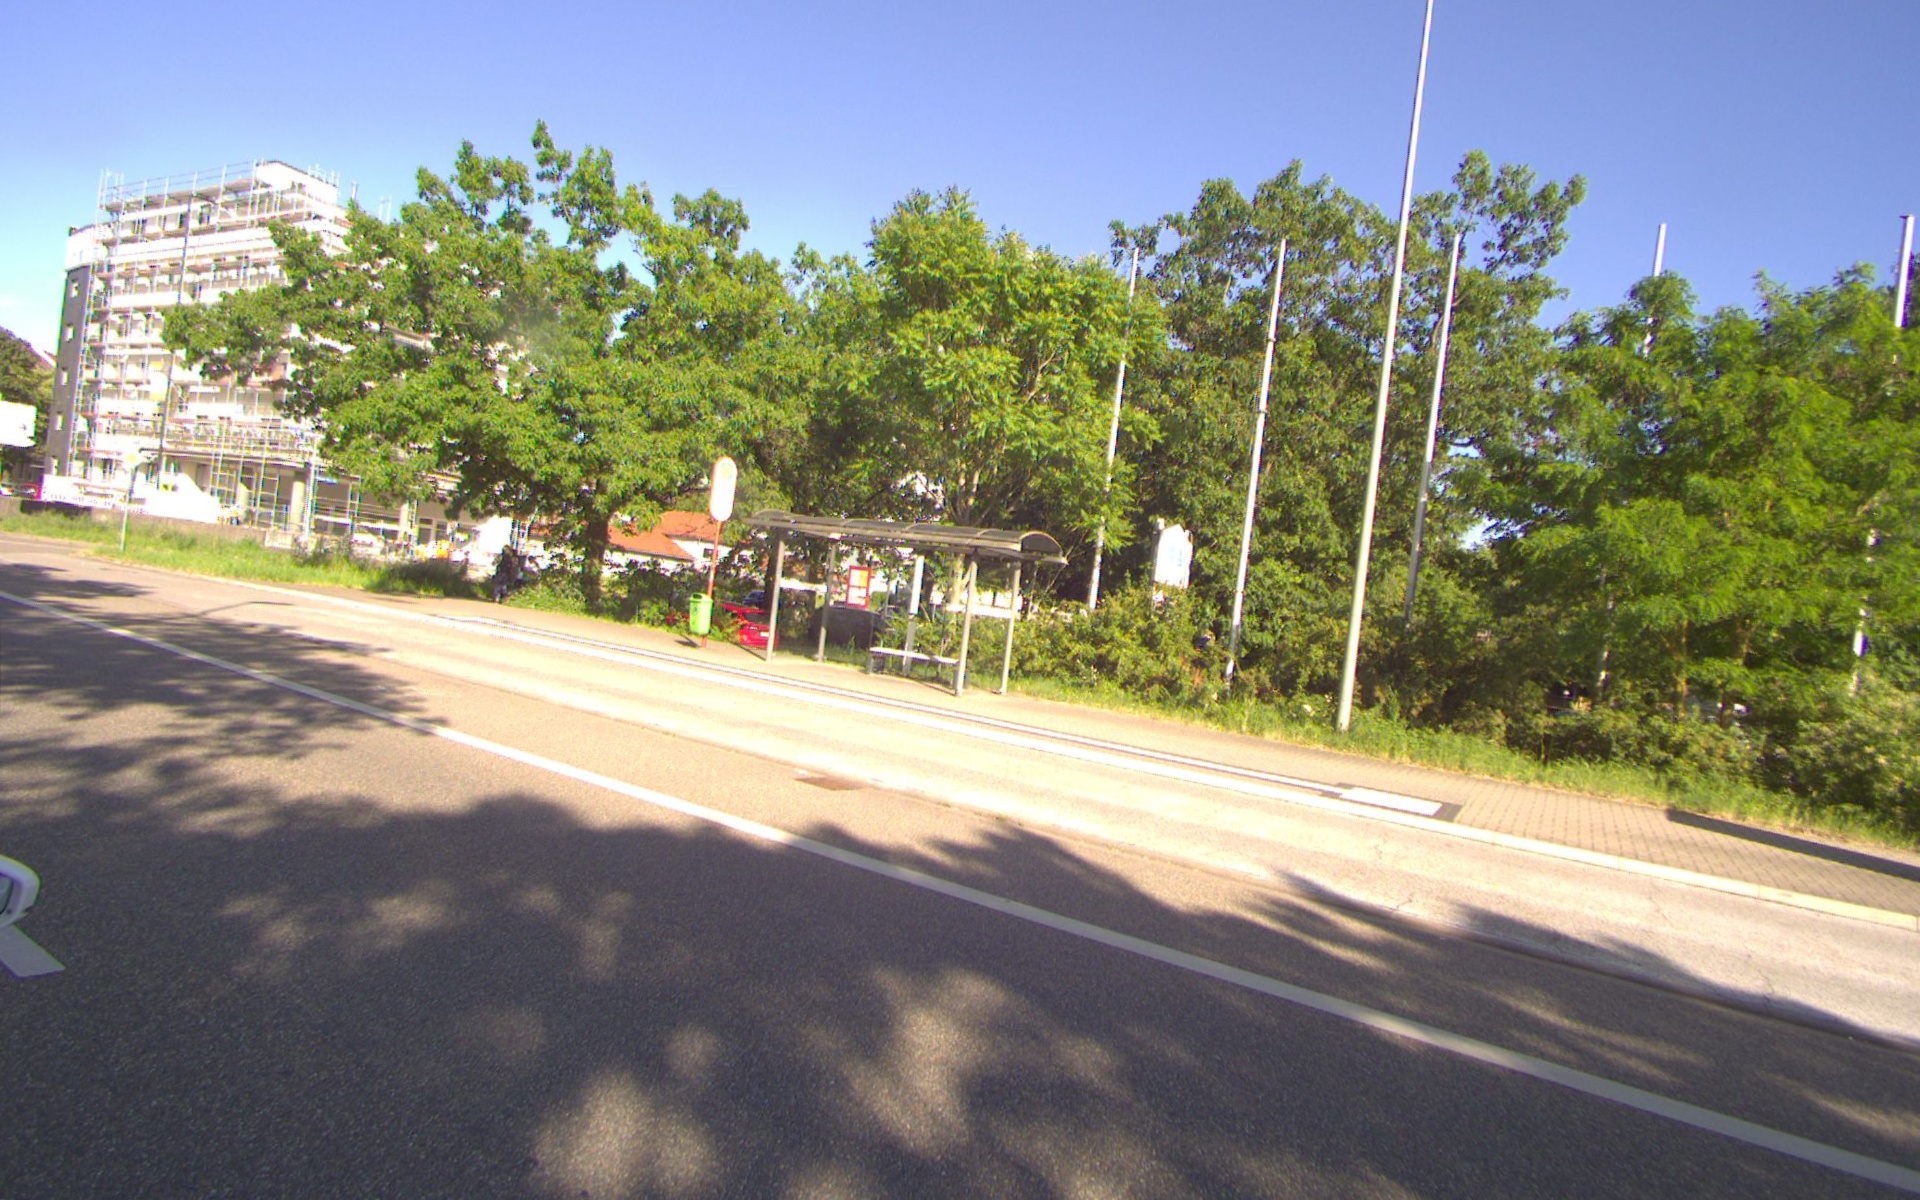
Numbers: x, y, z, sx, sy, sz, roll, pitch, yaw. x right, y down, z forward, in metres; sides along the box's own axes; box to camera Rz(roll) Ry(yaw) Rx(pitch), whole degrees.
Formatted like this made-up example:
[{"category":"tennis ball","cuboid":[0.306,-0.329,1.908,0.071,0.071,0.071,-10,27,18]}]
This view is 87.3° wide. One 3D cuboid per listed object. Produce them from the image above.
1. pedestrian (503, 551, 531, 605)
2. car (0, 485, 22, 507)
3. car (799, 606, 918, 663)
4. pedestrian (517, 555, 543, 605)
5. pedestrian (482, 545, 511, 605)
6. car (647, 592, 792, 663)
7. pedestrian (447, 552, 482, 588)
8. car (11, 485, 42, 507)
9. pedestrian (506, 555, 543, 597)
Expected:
[{"category":"pedestrian","cuboid":[-12.751,-0.645,28.961,0.517,1.465,0.587,7,1,-32]},{"category":"car","cuboid":[-66.549,-7.272,69.999,1.521,1.330,3.250,7,0,-40]},{"category":"car","cuboid":[-3.595,1.220,35.977,3.674,1.504,1.914,7,0,13]},{"category":"pedestrian","cuboid":[-13.406,-0.634,31.326,0.517,1.465,0.587,7,1,-32]},{"category":"pedestrian","cuboid":[-13.080,-0.710,28.395,0.517,1.632,0.587,7,1,-32]},{"category":"car","cuboid":[-6.878,0.793,28.744,3.680,1.504,1.755,7,0,28]},{"category":"pedestrian","cuboid":[-22.499,-1.337,45.683,0.947,1.465,0.895,7,0,12]},{"category":"car","cuboid":[-75.100,-8.350,80.980,1.521,1.487,3.250,7,0,-40]},{"category":"pedestrian","cuboid":[-18.945,-1.041,43.772,0.969,1.674,0.891,7,0,4]}]
